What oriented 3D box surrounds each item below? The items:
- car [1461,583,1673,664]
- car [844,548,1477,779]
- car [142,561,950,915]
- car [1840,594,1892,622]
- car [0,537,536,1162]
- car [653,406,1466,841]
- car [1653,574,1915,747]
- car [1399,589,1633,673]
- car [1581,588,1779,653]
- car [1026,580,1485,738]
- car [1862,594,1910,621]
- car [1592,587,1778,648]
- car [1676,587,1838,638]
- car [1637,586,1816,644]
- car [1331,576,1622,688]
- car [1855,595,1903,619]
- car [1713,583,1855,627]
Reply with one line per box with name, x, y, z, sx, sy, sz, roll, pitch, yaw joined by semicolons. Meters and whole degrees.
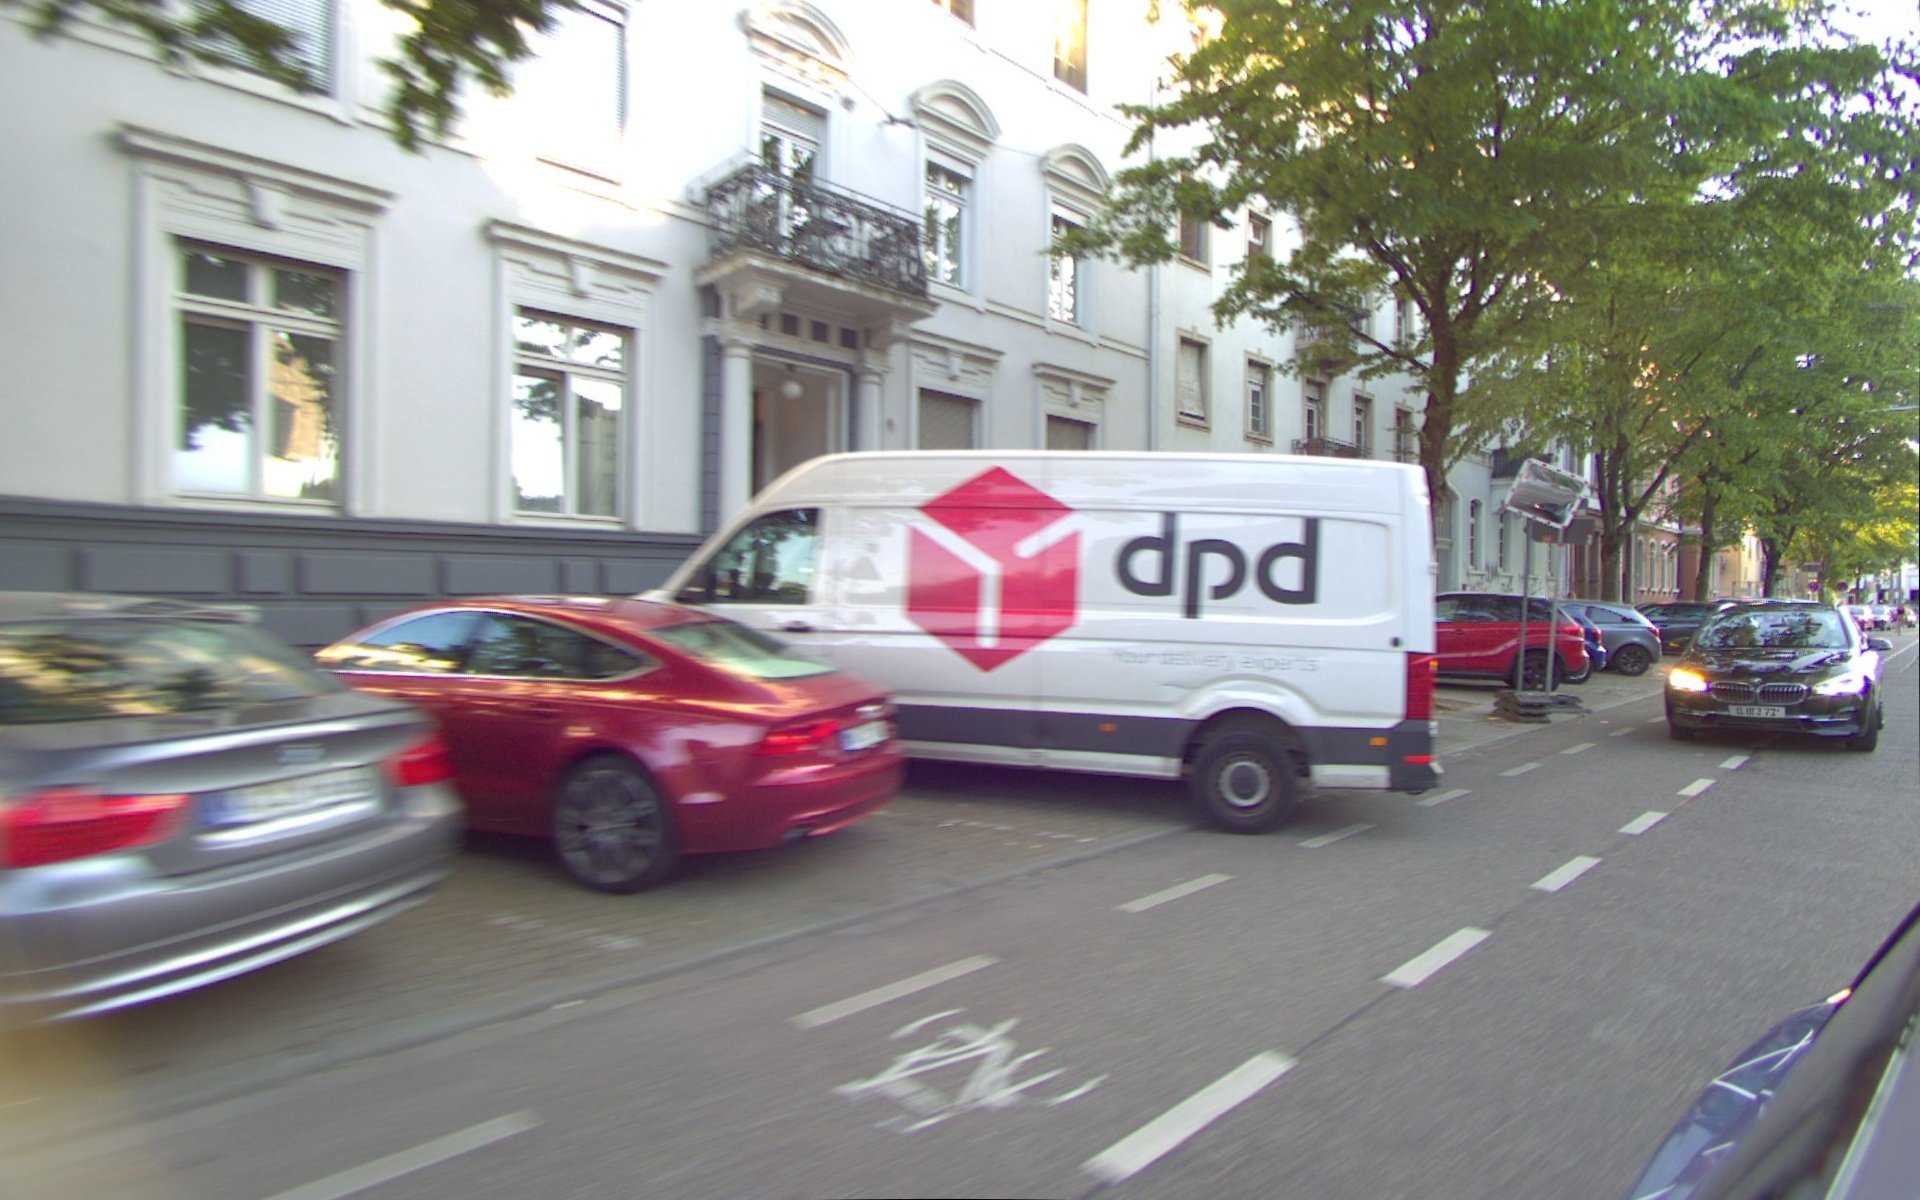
car;12.482;0.447;21.021;3.527;1.565;1.376;1;0;18
car;1.824;0.489;10.140;5.553;1.919;2.164;1;0;12
car;-2.440;0.571;6.191;4.349;1.462;1.976;3;2;18
car;53.652;0.451;59.920;3.753;1.630;1.741;0;0;-40
car;-4.240;0.500;4.069;4.547;1.532;1.852;3;1;18
car;0.654;0.097;8.004;5.553;2.728;2.164;1;0;12
car;9.742;0.625;11.847;4.099;1.662;1.836;0;-3;-44
car;10.278;0.534;18.944;3.519;1.427;1.516;1;0;12
car;19.487;0.505;27.629;4.176;1.521;1.725;3;1;30
car;3.412;0.607;12.323;4.953;1.623;1.887;1;0;15
car;57.885;0.457;63.249;3.753;1.630;1.741;0;0;-40
car;20.978;0.463;29.505;4.176;1.521;1.725;3;1;30
car;28.543;0.422;36.414;4.155;1.629;1.734;2;1;18
car;24.299;0.446;32.256;4.155;1.629;1.693;2;1;18
car;8.361;0.463;16.802;4.068;1.661;1.732;1;0;20
car;65.069;0.469;71.661;4.195;1.630;1.953;0;0;-40
car;34.123;0.191;42.023;4.155;1.629;1.734;2;1;18
